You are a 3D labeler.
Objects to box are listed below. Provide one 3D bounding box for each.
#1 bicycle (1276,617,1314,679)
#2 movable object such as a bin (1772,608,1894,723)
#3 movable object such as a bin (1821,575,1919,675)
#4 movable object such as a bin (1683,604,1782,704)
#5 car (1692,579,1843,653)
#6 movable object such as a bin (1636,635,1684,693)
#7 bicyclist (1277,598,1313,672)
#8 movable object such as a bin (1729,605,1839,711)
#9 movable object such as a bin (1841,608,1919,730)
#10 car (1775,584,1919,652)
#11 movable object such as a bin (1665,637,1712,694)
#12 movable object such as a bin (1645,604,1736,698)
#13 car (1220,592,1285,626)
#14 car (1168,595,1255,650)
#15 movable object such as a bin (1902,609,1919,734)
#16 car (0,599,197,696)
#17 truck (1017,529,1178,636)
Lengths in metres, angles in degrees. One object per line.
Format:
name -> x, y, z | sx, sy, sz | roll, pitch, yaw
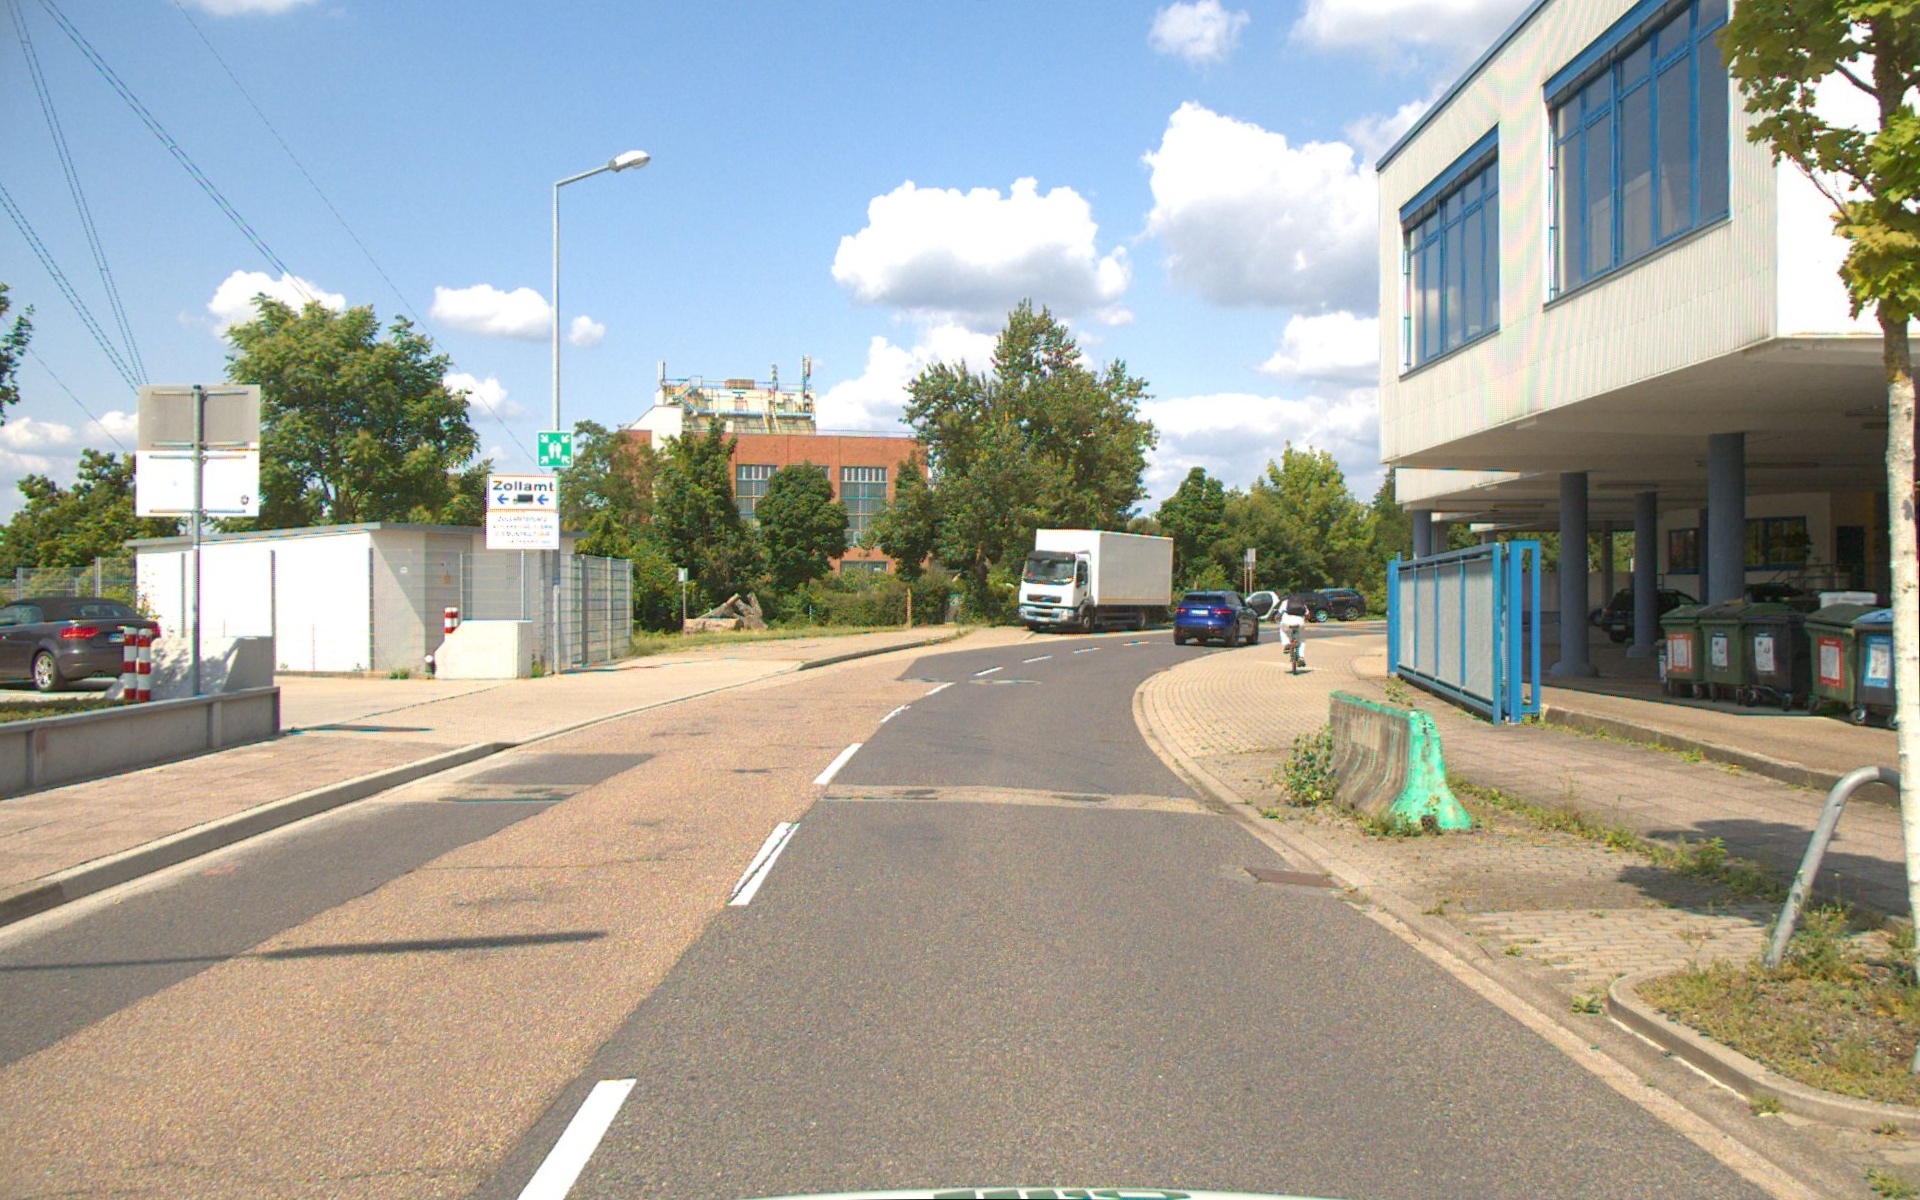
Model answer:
bicycle -> 6.529, 0.919, 32.320 | 0.652, 1.128, 2.169 | -1, 0, 10
movable object such as a bin -> 11.343, 0.828, 21.529 | 0.788, 1.438, 1.426 | 0, 0, -3
movable object such as a bin -> 20.660, 0.509, 36.575 | 3.394, 2.121, 1.418 | 0, 1, -34
movable object such as a bin -> 11.443, 0.784, 24.531 | 0.788, 1.438, 1.357 | 0, 0, -3
car -> 20.900, 0.376, 42.774 | 4.055, 1.812, 1.739 | 0, 1, -34
movable object such as a bin -> 11.804, 1.072, 27.893 | 0.576, 0.960, 0.544 | 0, -1, -3
bicyclist -> 6.554, 0.677, 32.380 | 0.649, 1.422, 0.859 | -1, 0, 10
movable object such as a bin -> 11.487, 0.787, 23.106 | 0.788, 1.438, 1.404 | 0, 0, -3
movable object such as a bin -> 11.419, 0.813, 20.081 | 0.788, 1.438, 1.174 | 0, 0, -3
car -> 21.807, 0.421, 40.458 | 3.618, 1.573, 1.821 | 0, 1, -34
movable object such as a bin -> 11.899, 1.067, 27.012 | 0.586, 0.926, 0.417 | 0, -1, -4
movable object such as a bin -> 11.437, 0.779, 25.931 | 0.788, 1.438, 1.357 | 0, 0, -3
car -> 13.775, 0.428, 78.010 | 2.837, 1.597, 1.890 | 0, -1, 3
car -> 7.848, 0.672, 51.282 | 1.869, 1.621, 4.703 | 0, 0, 19
movable object such as a bin -> 11.479, 0.822, 18.762 | 0.788, 1.438, 1.357 | 0, 0, -2
car -> -13.923, 0.708, 25.909 | 3.916, 1.402, 1.798 | -1, 0, 33
truck -> 5.226, -0.695, 60.886 | 2.277, 3.629, 9.352 | 1, 1, 29
